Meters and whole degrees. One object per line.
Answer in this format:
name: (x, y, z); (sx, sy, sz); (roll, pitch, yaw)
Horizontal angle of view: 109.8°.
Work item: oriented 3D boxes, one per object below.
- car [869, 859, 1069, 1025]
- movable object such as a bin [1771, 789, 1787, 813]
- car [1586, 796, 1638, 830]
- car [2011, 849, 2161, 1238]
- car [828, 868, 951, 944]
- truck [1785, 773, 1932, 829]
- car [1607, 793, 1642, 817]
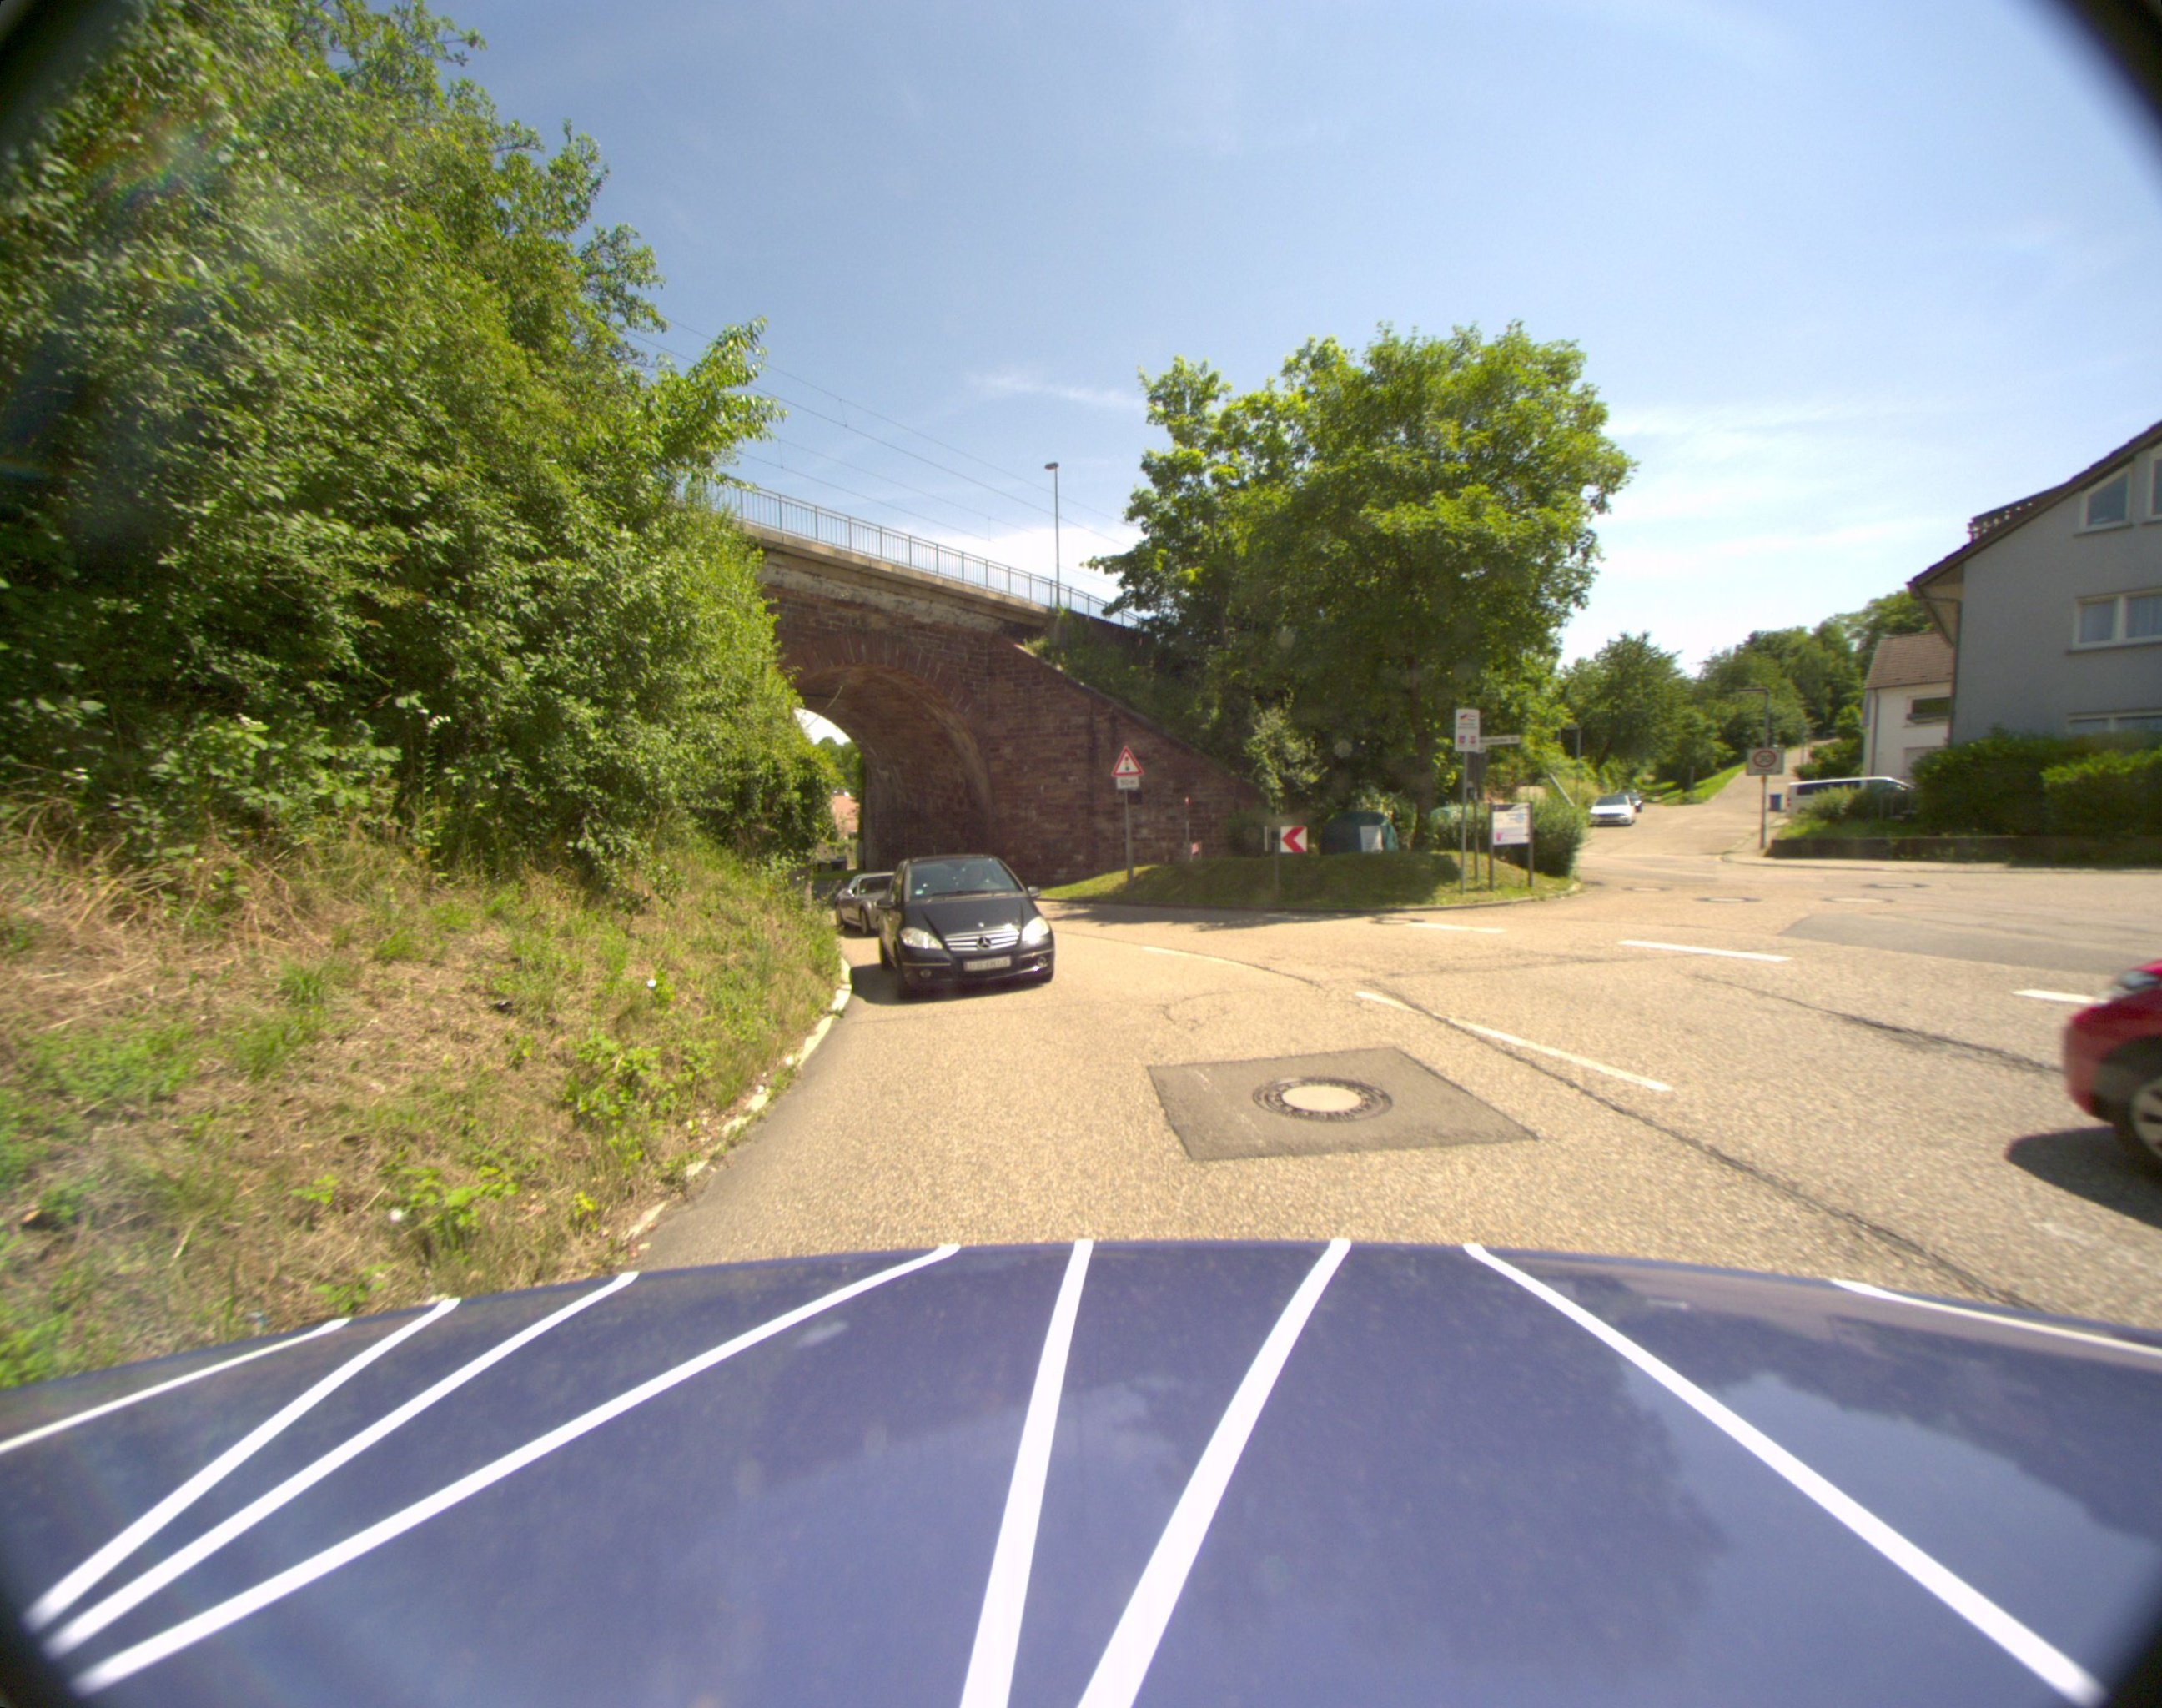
car: (-1.628, 0.903, 9.715); (1.798, 1.570, 3.793); (-3, 1, -19)
movable object such as a bin: (42.122, -3.197, 45.844); (0.538, 1.365, 0.600); (-4, 2, -40)
car: (27.201, -2.143, 39.032); (1.994, 1.499, 4.005); (-1, 4, 32)
car: (4.948, 0.703, 1.516); (1.660, 1.450, 3.635); (-3, 0, -2)
car: (-4.307, 1.051, 16.756); (1.650, 1.315, 3.430); (-5, 3, -30)
truck: (33.821, -2.261, 33.182); (2.003, 2.002, 4.304); (-4, 0, -44)
car: (37.199, -3.369, 52.073); (1.746, 1.382, 4.005); (-1, 5, 32)
